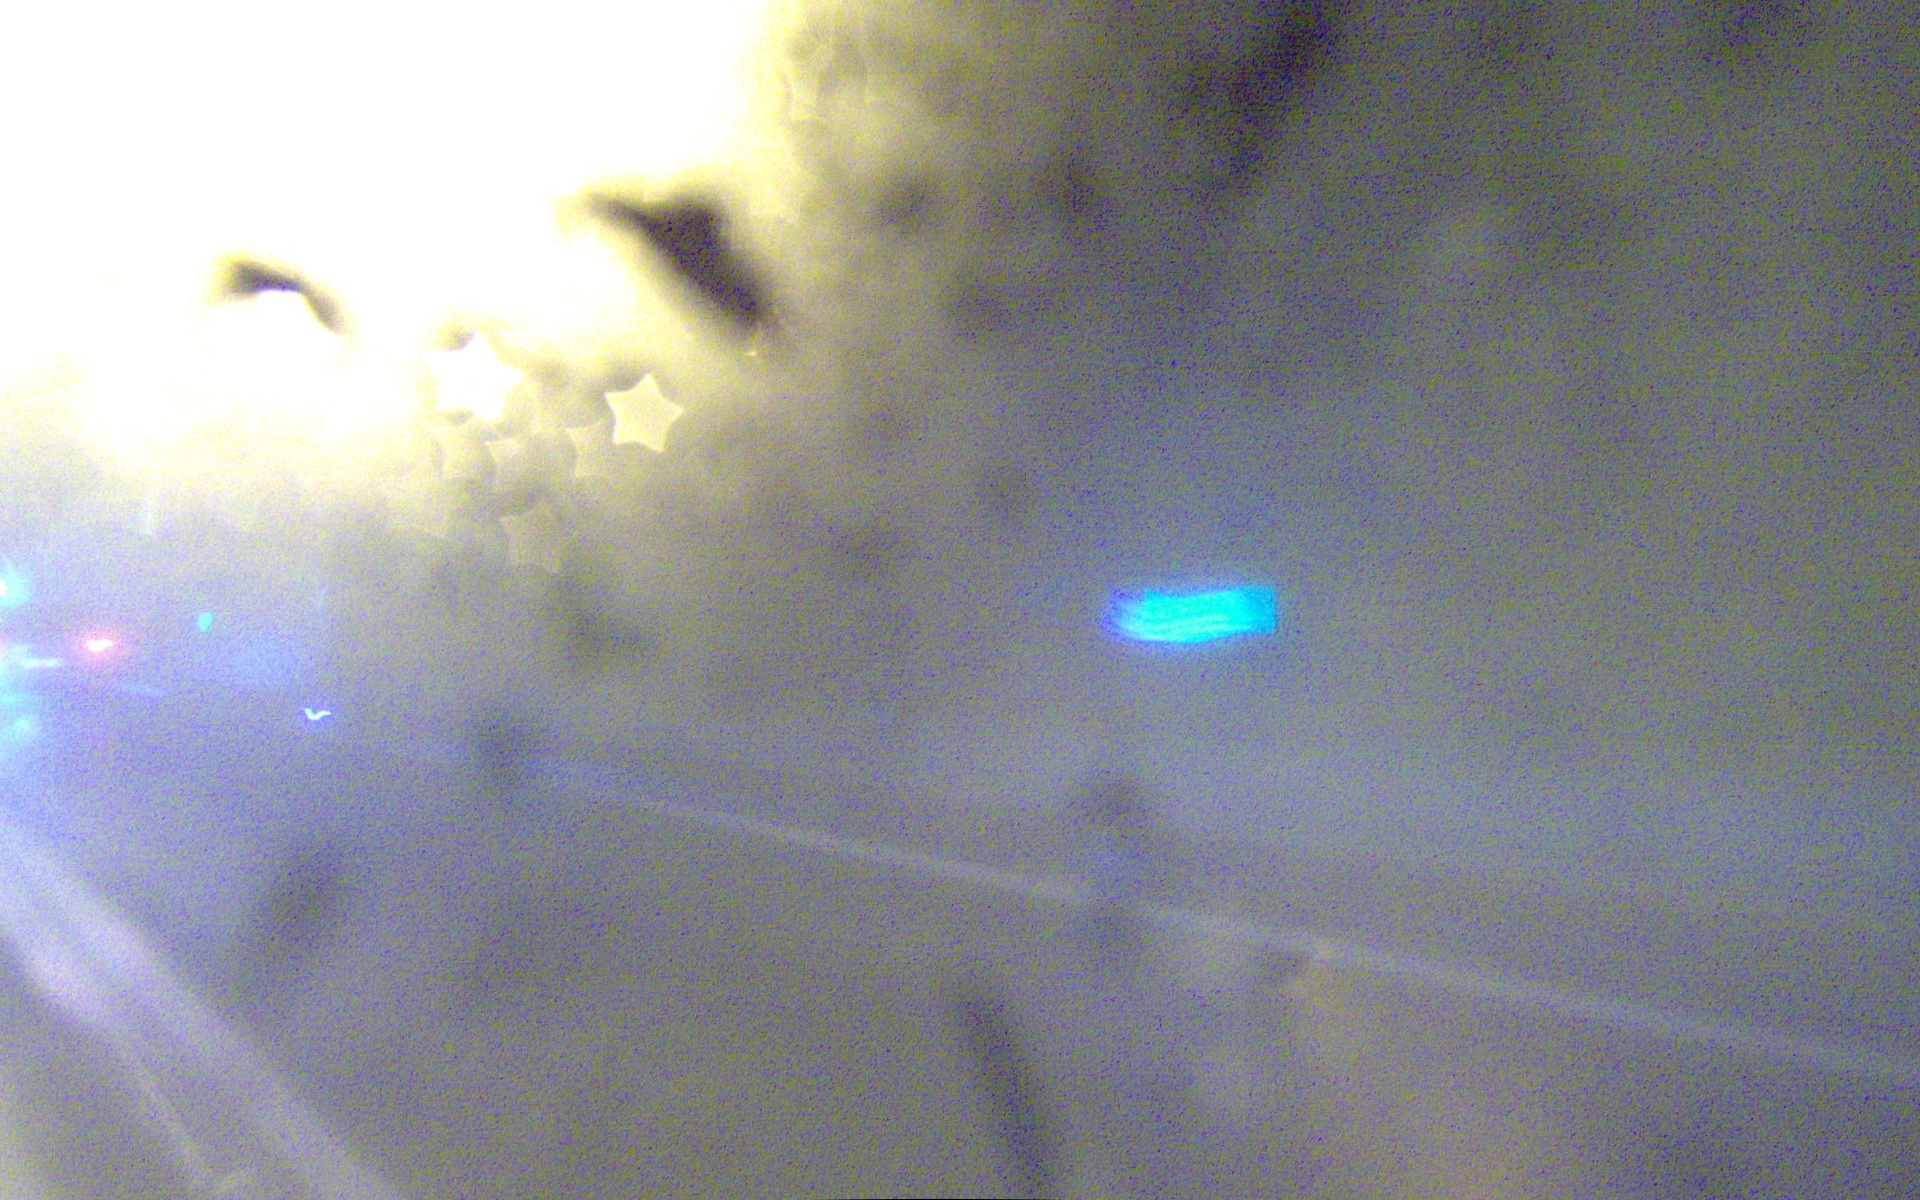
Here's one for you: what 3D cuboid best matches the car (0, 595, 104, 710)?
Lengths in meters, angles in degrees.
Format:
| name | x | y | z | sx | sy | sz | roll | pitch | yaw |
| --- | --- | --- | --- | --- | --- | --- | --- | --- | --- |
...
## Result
| name | x | y | z | sx | sy | sz | roll | pitch | yaw |
| --- | --- | --- | --- | --- | --- | --- | --- | --- | --- |
| car | -17.344 | 0.937 | 18.589 | 4.606 | 1.914 | 1.822 | -2 | -2 | 42 |
